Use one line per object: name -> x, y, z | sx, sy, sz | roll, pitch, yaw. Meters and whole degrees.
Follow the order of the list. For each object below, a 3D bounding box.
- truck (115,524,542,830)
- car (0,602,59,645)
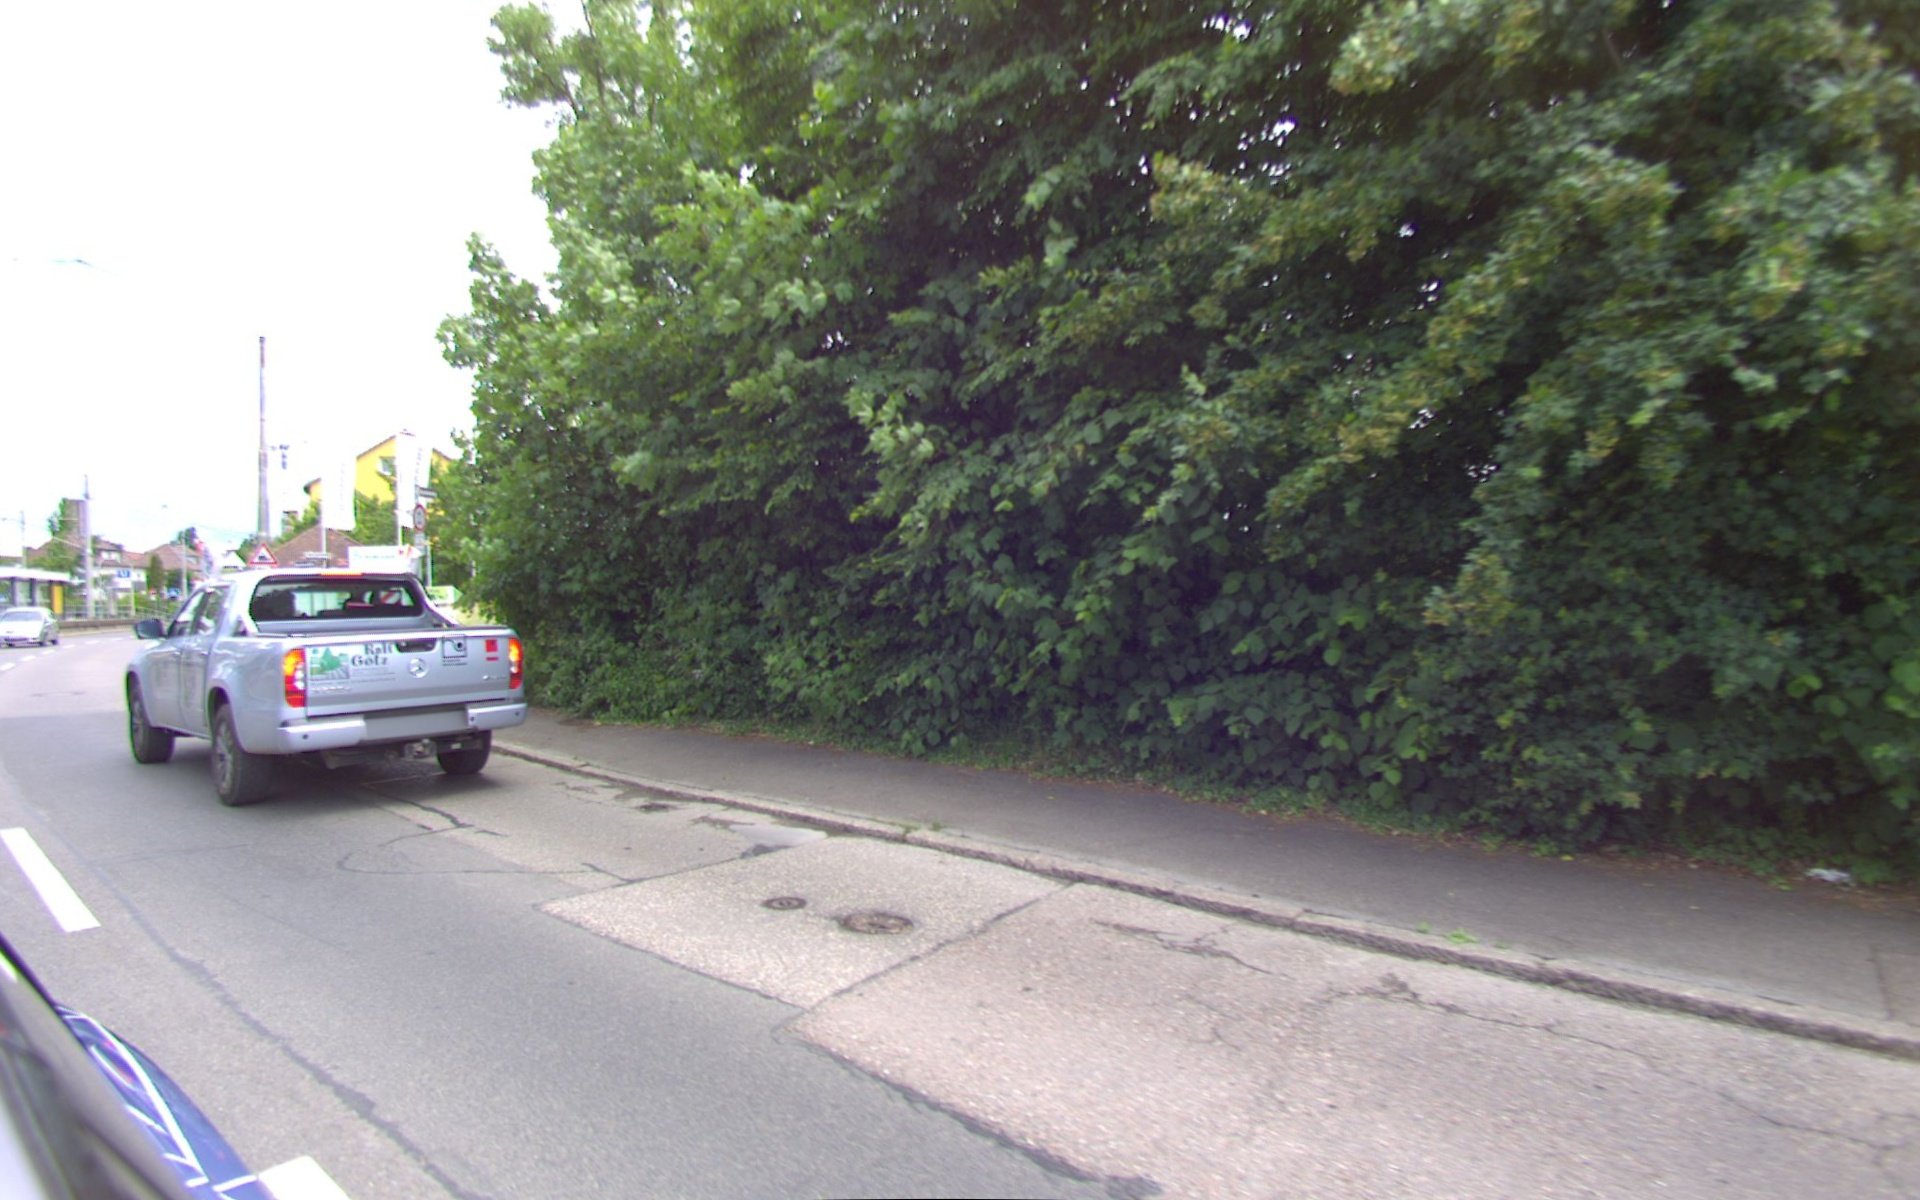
truck -> -5.741, 0.491, 8.879 | 4.956, 1.981, 1.829 | 0, 1, 41
car -> -38.858, 0.964, 42.032 | 1.707, 1.661, 4.236 | -2, 1, -36
